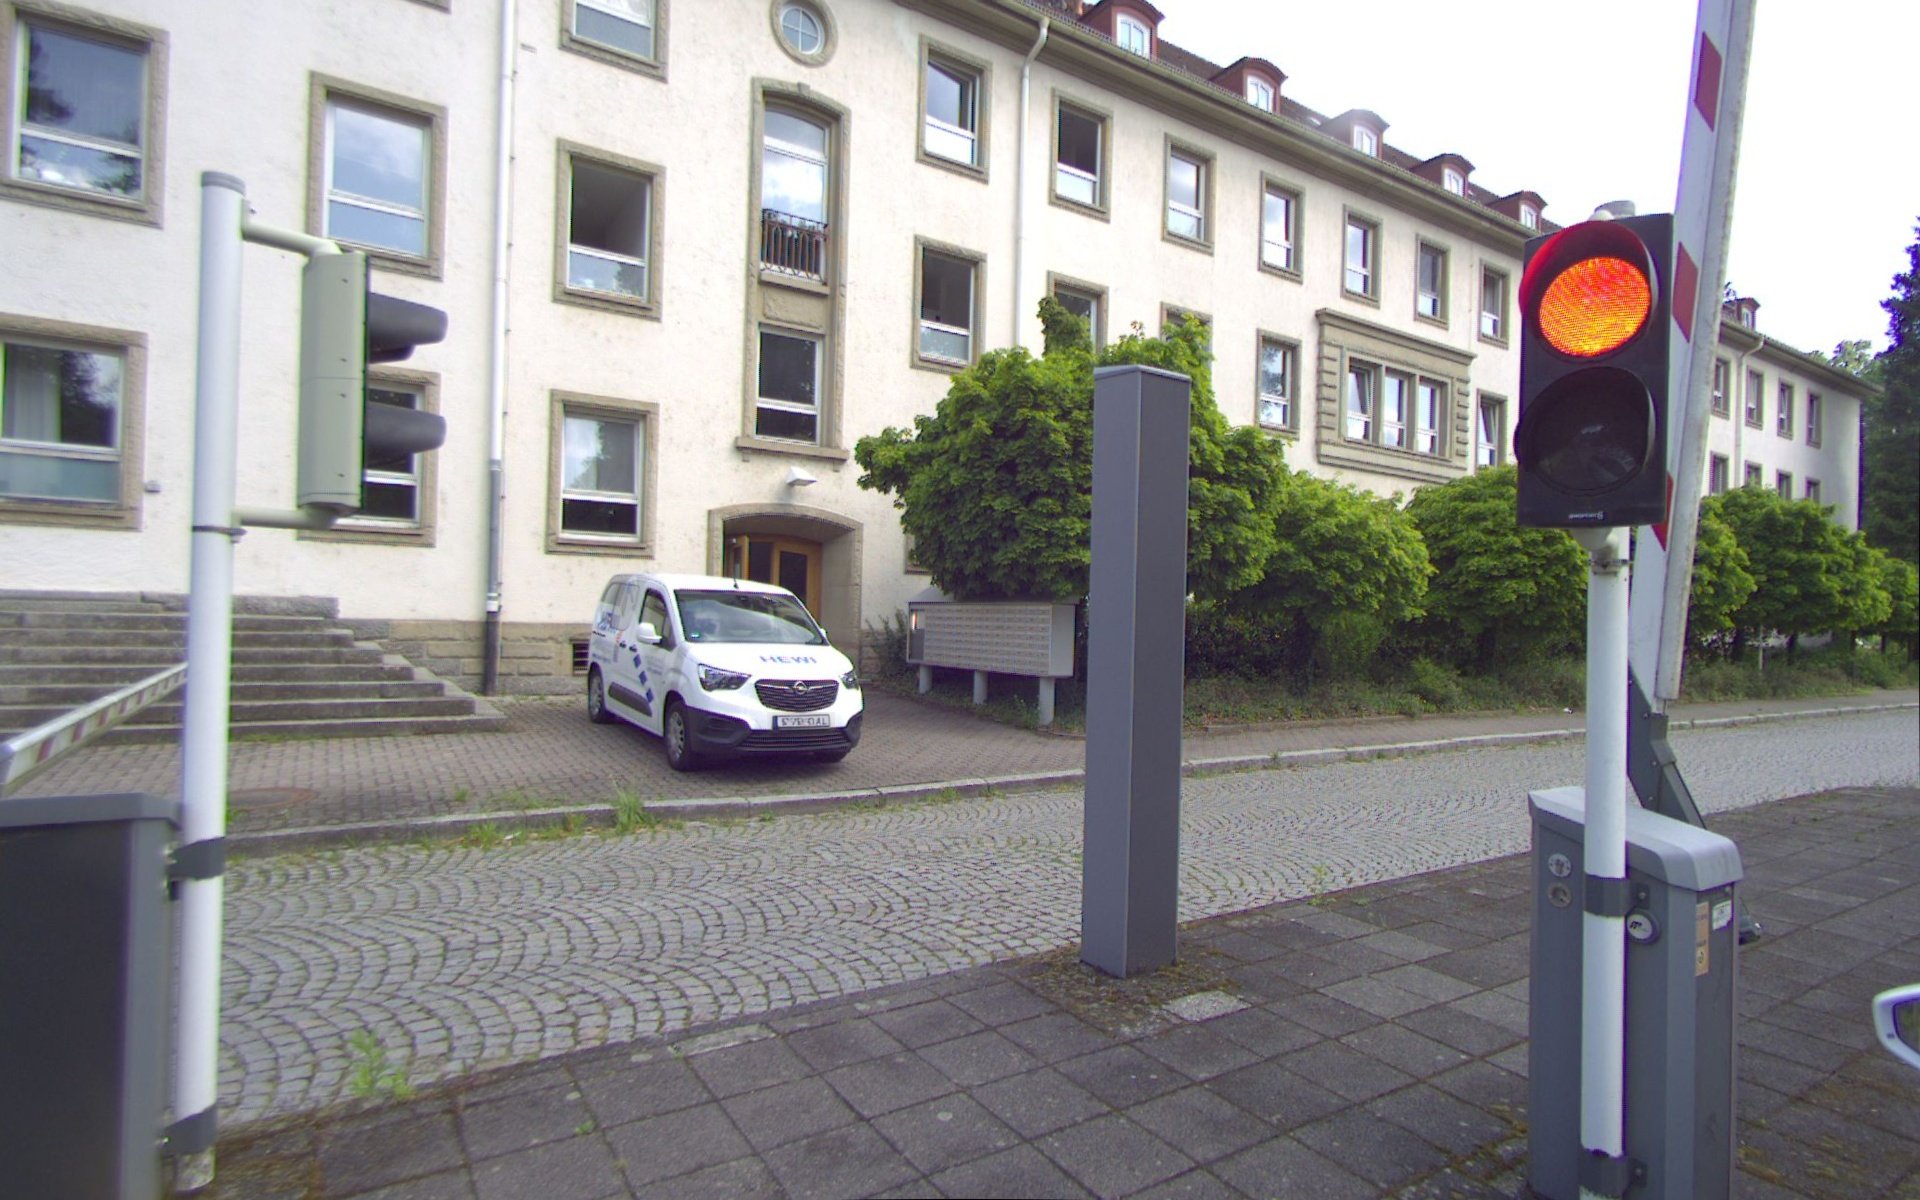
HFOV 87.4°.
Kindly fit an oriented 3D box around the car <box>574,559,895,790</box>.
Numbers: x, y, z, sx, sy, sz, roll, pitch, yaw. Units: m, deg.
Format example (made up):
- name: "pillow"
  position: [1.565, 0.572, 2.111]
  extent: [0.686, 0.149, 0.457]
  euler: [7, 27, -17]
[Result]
- name: "car"
  position: [-2.617, 0.600, 10.776]
  extent: [1.803, 1.830, 4.271]
  euler: [3, 2, -35]
